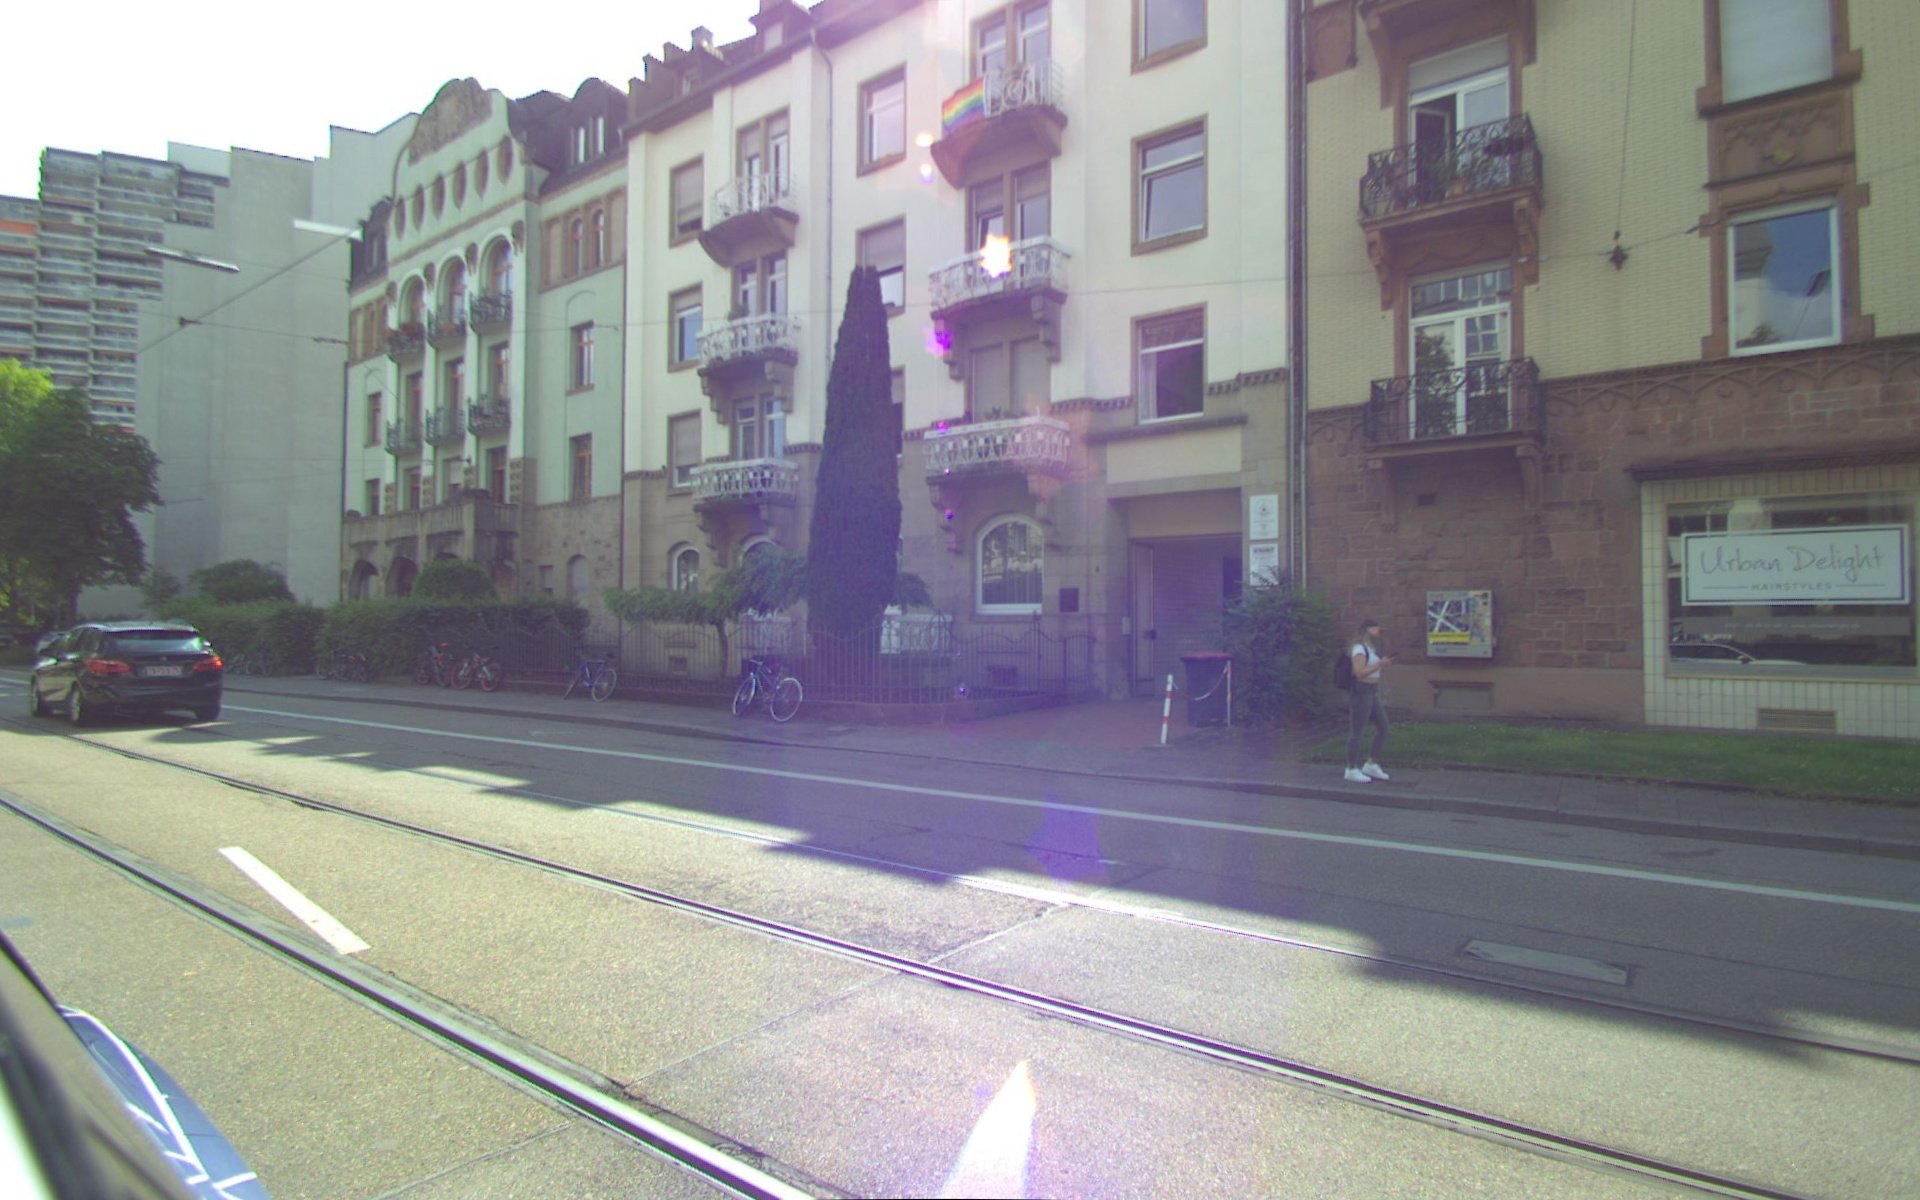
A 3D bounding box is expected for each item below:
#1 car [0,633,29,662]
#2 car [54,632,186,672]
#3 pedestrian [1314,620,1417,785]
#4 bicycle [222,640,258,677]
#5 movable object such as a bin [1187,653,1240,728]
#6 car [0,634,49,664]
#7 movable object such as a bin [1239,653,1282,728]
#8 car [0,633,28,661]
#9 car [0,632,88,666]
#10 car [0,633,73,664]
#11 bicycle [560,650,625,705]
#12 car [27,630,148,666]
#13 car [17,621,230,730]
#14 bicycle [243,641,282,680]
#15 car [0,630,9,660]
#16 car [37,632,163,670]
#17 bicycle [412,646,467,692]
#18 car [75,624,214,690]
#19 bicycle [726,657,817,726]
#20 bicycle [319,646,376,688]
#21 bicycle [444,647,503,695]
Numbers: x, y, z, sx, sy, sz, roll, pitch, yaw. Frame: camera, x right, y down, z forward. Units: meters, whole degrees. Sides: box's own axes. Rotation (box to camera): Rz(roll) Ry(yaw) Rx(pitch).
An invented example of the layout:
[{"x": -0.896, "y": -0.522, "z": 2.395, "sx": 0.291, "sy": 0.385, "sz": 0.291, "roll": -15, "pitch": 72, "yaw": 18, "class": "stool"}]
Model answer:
[{"x": -51.822, "y": 2.498, "z": 53.398, "sx": 3.938, "sy": 1.519, "sz": 2.002, "roll": 2, "pitch": -3, "yaw": -42, "class": "car"}, {"x": -33.384, "y": 2.031, "z": 40.266, "sx": 3.938, "sy": 1.519, "sz": 2.002, "roll": 2, "pitch": -3, "yaw": -42, "class": "car"}, {"x": 4.060, "y": 0.989, "z": 10.127, "sx": 0.764, "sy": 1.553, "sz": 0.749, "roll": -2, "pitch": -3, "yaw": 39, "class": "pedestrian"}, {"x": -22.511, "y": 1.814, "z": 31.643, "sx": 1.785, "sy": 1.144, "sz": 0.462, "roll": -2, "pitch": -3, "yaw": 40, "class": "bicycle"}, {"x": 3.644, "y": 1.292, "z": 14.569, "sx": 0.697, "sy": 1.037, "sz": 0.475, "roll": 0, "pitch": -2, "yaw": 11, "class": "movable object such as a bin"}, {"x": -49.129, "y": 2.469, "z": 51.618, "sx": 3.938, "sy": 1.519, "sz": 2.002, "roll": 2, "pitch": -3, "yaw": -42, "class": "car"}, {"x": 4.316, "y": 1.289, "z": 14.561, "sx": 0.531, "sy": 1.037, "sz": 0.475, "roll": 0, "pitch": -2, "yaw": 11, "class": "movable object such as a bin"}, {"x": -54.012, "y": 2.573, "z": 55.700, "sx": 3.938, "sy": 1.519, "sz": 2.002, "roll": 2, "pitch": -3, "yaw": -42, "class": "car"}, {"x": -43.989, "y": 2.304, "z": 47.993, "sx": 3.938, "sy": 1.519, "sz": 2.002, "roll": 2, "pitch": -3, "yaw": -42, "class": "car"}, {"x": -46.446, "y": 2.380, "z": 49.970, "sx": 3.938, "sy": 1.519, "sz": 2.002, "roll": 2, "pitch": -3, "yaw": -42, "class": "car"}, {"x": -7.140, "y": 1.481, "z": 19.617, "sx": 0.461, "sy": 1.003, "sz": 1.788, "roll": 2, "pitch": -3, "yaw": -45, "class": "bicycle"}, {"x": -38.676, "y": 2.108, "z": 44.931, "sx": 3.938, "sy": 1.519, "sz": 2.002, "roll": 2, "pitch": -3, "yaw": -42, "class": "car"}, {"x": -13.451, "y": 1.125, "z": 16.207, "sx": 4.062, "sy": 1.530, "sz": 1.739, "roll": -1, "pitch": -3, "yaw": 38, "class": "car"}, {"x": -20.985, "y": 1.796, "z": 30.443, "sx": 1.785, "sy": 1.144, "sz": 0.462, "roll": -2, "pitch": -3, "yaw": 40, "class": "bicycle"}, {"x": -56.913, "y": 2.551, "z": 57.646, "sx": 3.938, "sy": 1.695, "sz": 2.002, "roll": 2, "pitch": -3, "yaw": -42, "class": "car"}, {"x": -36.068, "y": 2.113, "z": 42.519, "sx": 3.938, "sy": 1.519, "sz": 2.002, "roll": 2, "pitch": -3, "yaw": -42, "class": "car"}, {"x": -12.144, "y": 1.590, "z": 23.574, "sx": 1.785, "sy": 1.003, "sz": 0.462, "roll": -2, "pitch": -3, "yaw": 40, "class": "bicycle"}, {"x": -22.720, "y": 1.537, "z": 28.164, "sx": 4.392, "sy": 1.708, "sz": 1.899, "roll": -1, "pitch": -2, "yaw": 36, "class": "car"}, {"x": -3.066, "y": 1.449, "z": 16.317, "sx": 0.461, "sy": 1.003, "sz": 1.980, "roll": 2, "pitch": -3, "yaw": -43, "class": "bicycle"}, {"x": -15.619, "y": 1.692, "z": 25.784, "sx": 1.979, "sy": 1.003, "sz": 0.597, "roll": -2, "pitch": -3, "yaw": 40, "class": "bicycle"}, {"x": -10.728, "y": 1.555, "z": 22.311, "sx": 1.785, "sy": 1.003, "sz": 0.462, "roll": -2, "pitch": -3, "yaw": 40, "class": "bicycle"}]
